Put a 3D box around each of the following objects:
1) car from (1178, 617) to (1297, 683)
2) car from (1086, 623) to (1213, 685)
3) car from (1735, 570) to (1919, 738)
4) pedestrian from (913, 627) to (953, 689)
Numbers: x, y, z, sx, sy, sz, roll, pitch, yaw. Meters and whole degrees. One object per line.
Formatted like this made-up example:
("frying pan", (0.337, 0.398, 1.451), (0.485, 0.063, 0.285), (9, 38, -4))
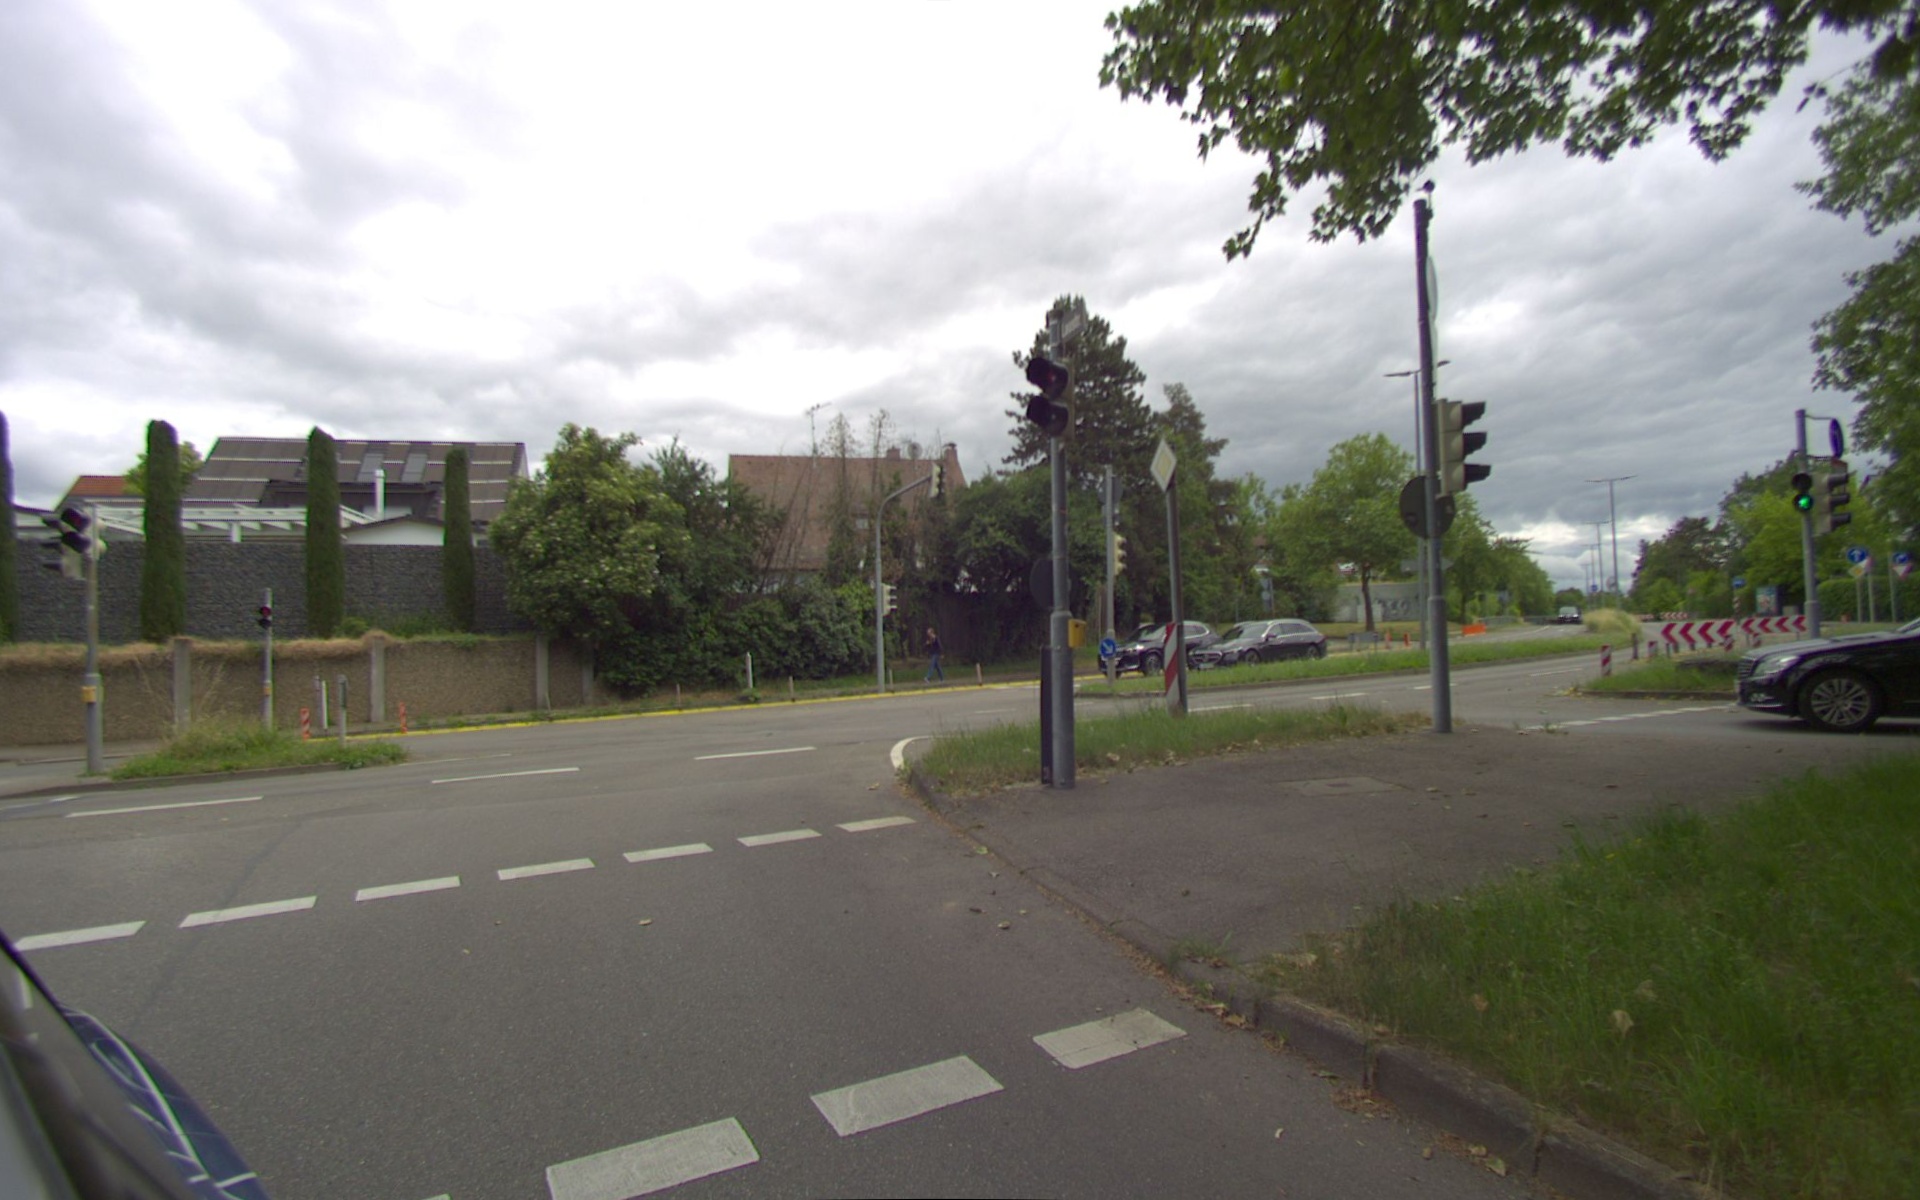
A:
("car", (8.015, 1.389, 28.987), (1.842, 1.644, 4.209), (-6, -4, 35))
("car", (5.937, 1.641, 31.411), (1.845, 1.644, 4.406), (-7, -4, 40))
("car", (10.011, 0.486, 9.387), (4.378, 1.529, 1.741), (-1, -1, 36))
("pedestrian", (-0.910, 1.939, 34.070), (0.842, 2.029, 0.953), (0, -3, -45))
